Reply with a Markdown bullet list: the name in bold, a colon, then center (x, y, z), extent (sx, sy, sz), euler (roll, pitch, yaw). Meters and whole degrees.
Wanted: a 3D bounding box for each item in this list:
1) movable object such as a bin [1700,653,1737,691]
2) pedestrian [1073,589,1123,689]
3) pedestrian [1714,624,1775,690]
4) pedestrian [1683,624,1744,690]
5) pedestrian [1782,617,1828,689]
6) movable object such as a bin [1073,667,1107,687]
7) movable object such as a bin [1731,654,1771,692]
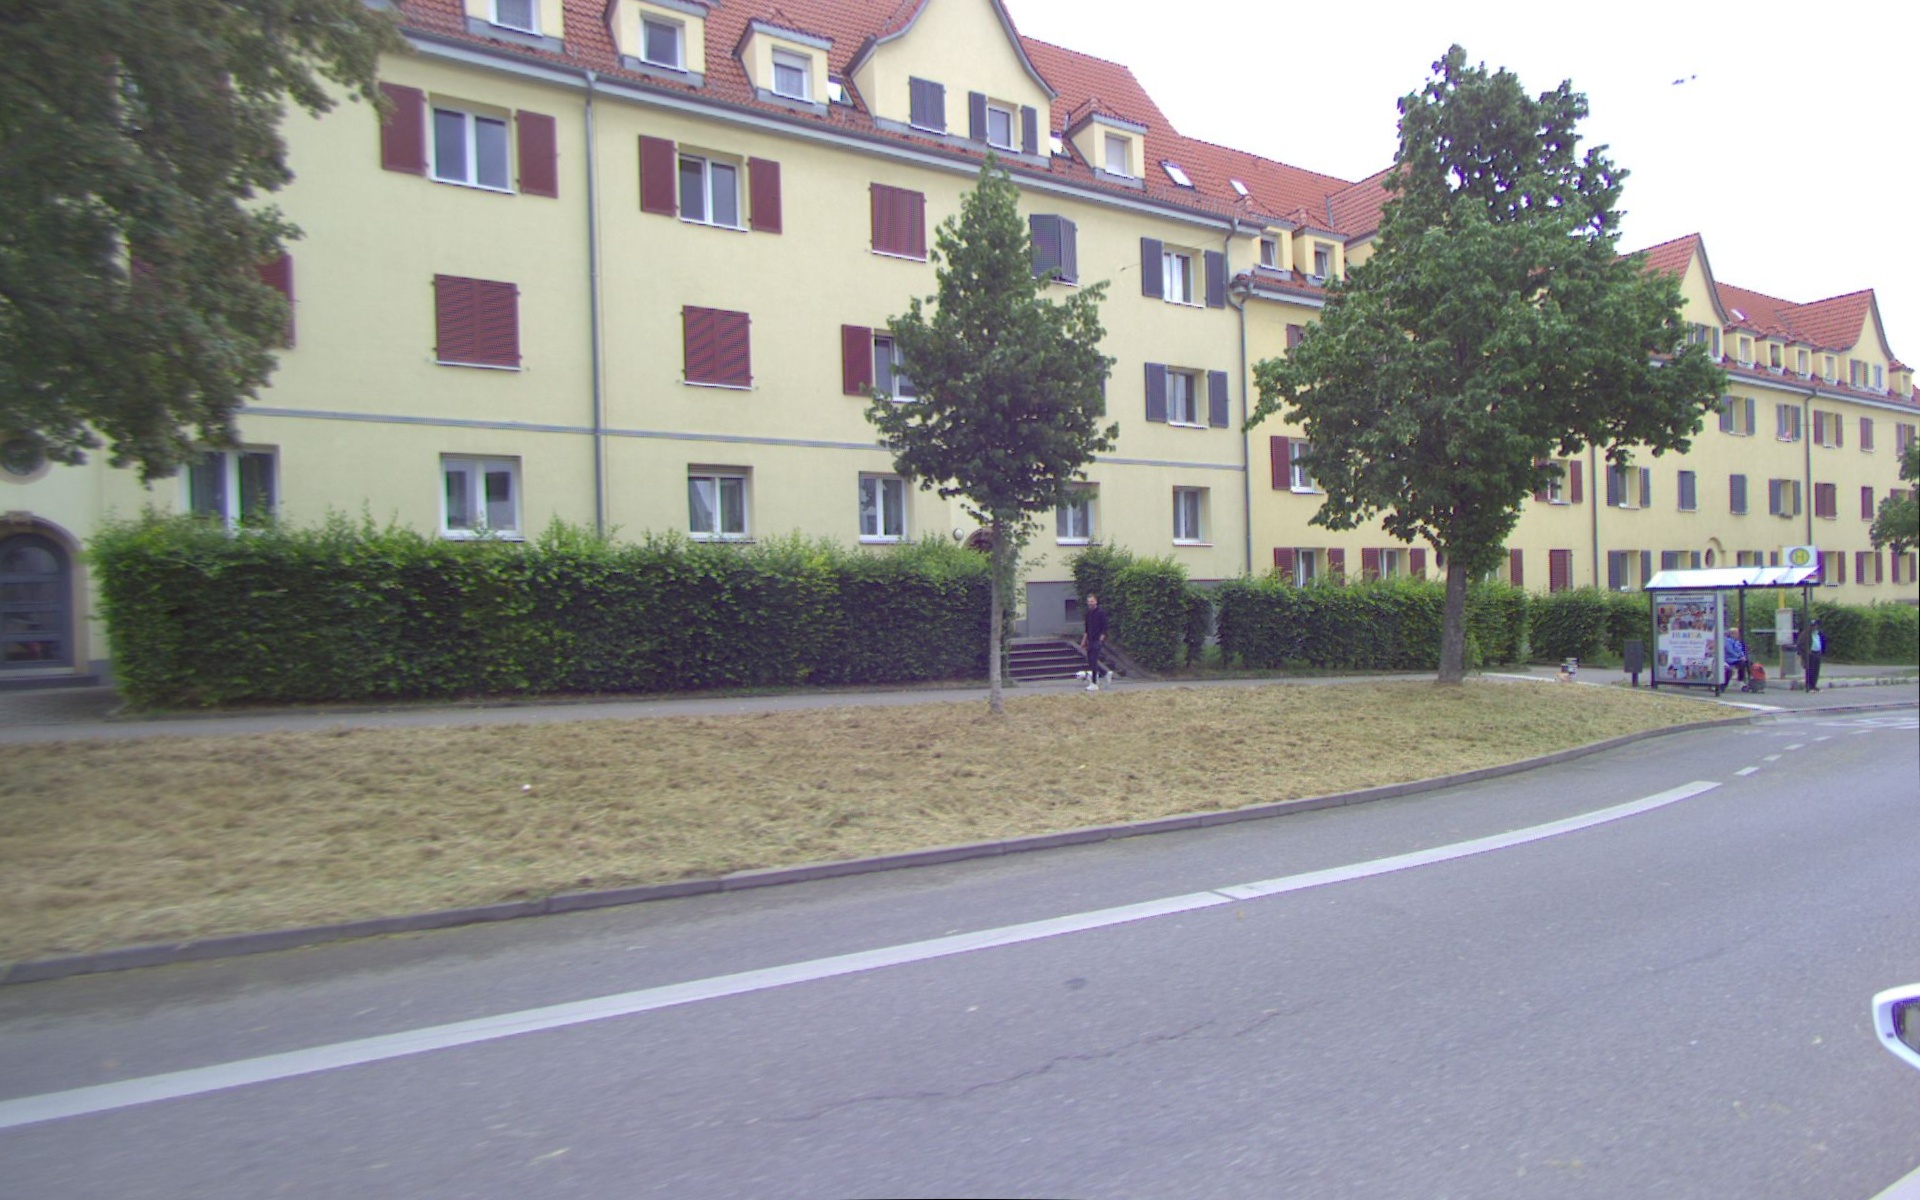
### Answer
- **movable object such as a bin**: center (17.793, 1.687, 23.571), extent (0.657, 0.837, 0.462), euler (1, 1, -28)
- **pedestrian**: center (2.544, 0.716, 18.524), extent (0.744, 1.803, 0.511), euler (1, 0, -30)
- **pedestrian**: center (18.990, 1.362, 24.330), extent (0.796, 1.530, 0.895), euler (1, 1, -29)
- **pedestrian**: center (17.794, 1.327, 23.725), extent (0.796, 1.493, 0.895), euler (1, 1, -29)
- **pedestrian**: center (21.139, 1.307, 25.128), extent (0.850, 1.750, 0.595), euler (1, 0, -27)
- **movable object such as a bin**: center (2.500, 1.471, 19.258), extent (0.573, 0.352, 0.305), euler (1, -1, -24)
- **movable object such as a bin**: center (19.030, 1.742, 24.175), extent (0.656, 0.857, 0.534), euler (1, 1, -28)
